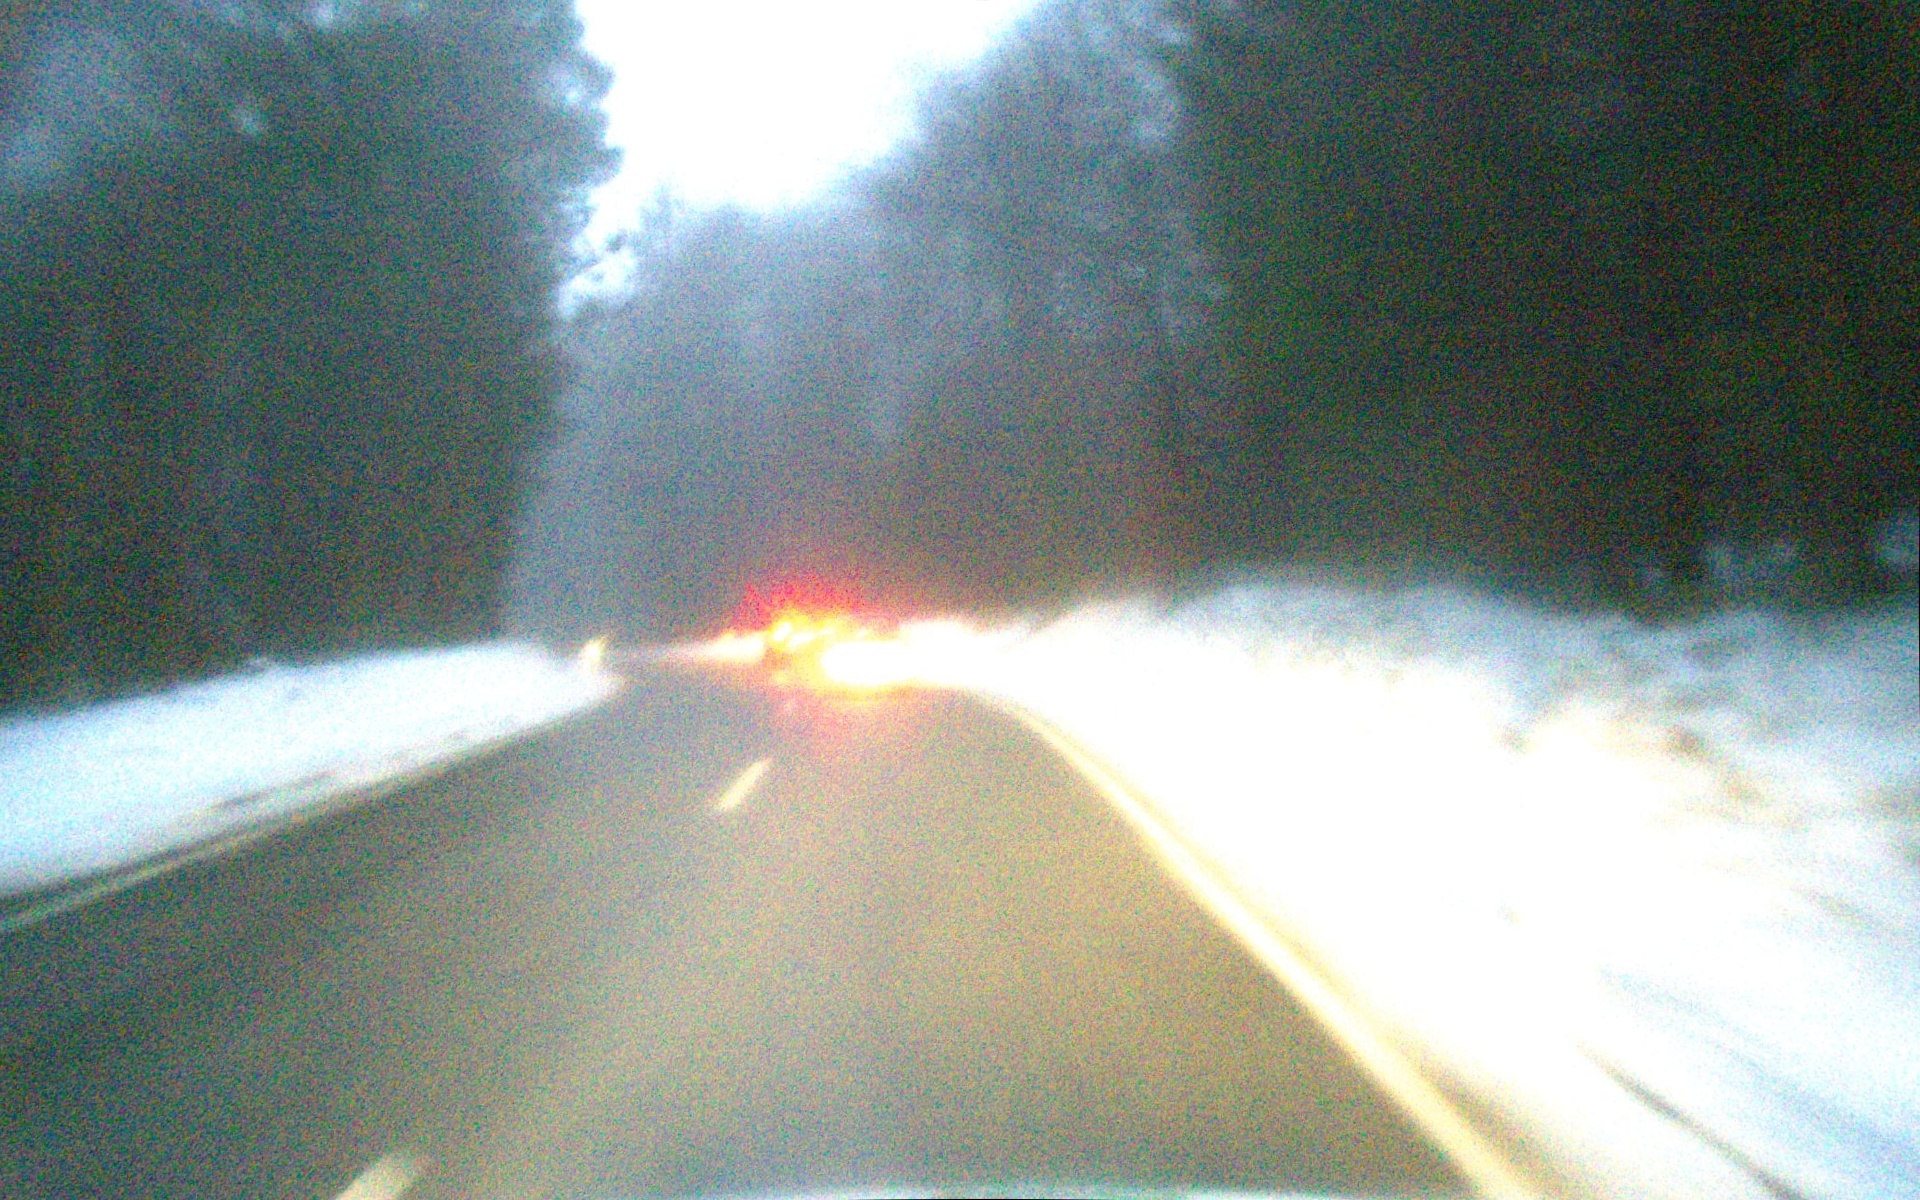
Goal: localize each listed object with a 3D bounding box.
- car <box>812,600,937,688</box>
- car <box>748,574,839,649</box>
[{"bbox_3d":[-1.606,0.834,29.633,1.909,1.406,3.993,2,-3,-7],"label":"car"},{"bbox_3d":[-4.826,0.376,47.505,1.960,1.814,3.984,4,-4,-14],"label":"car"}]
